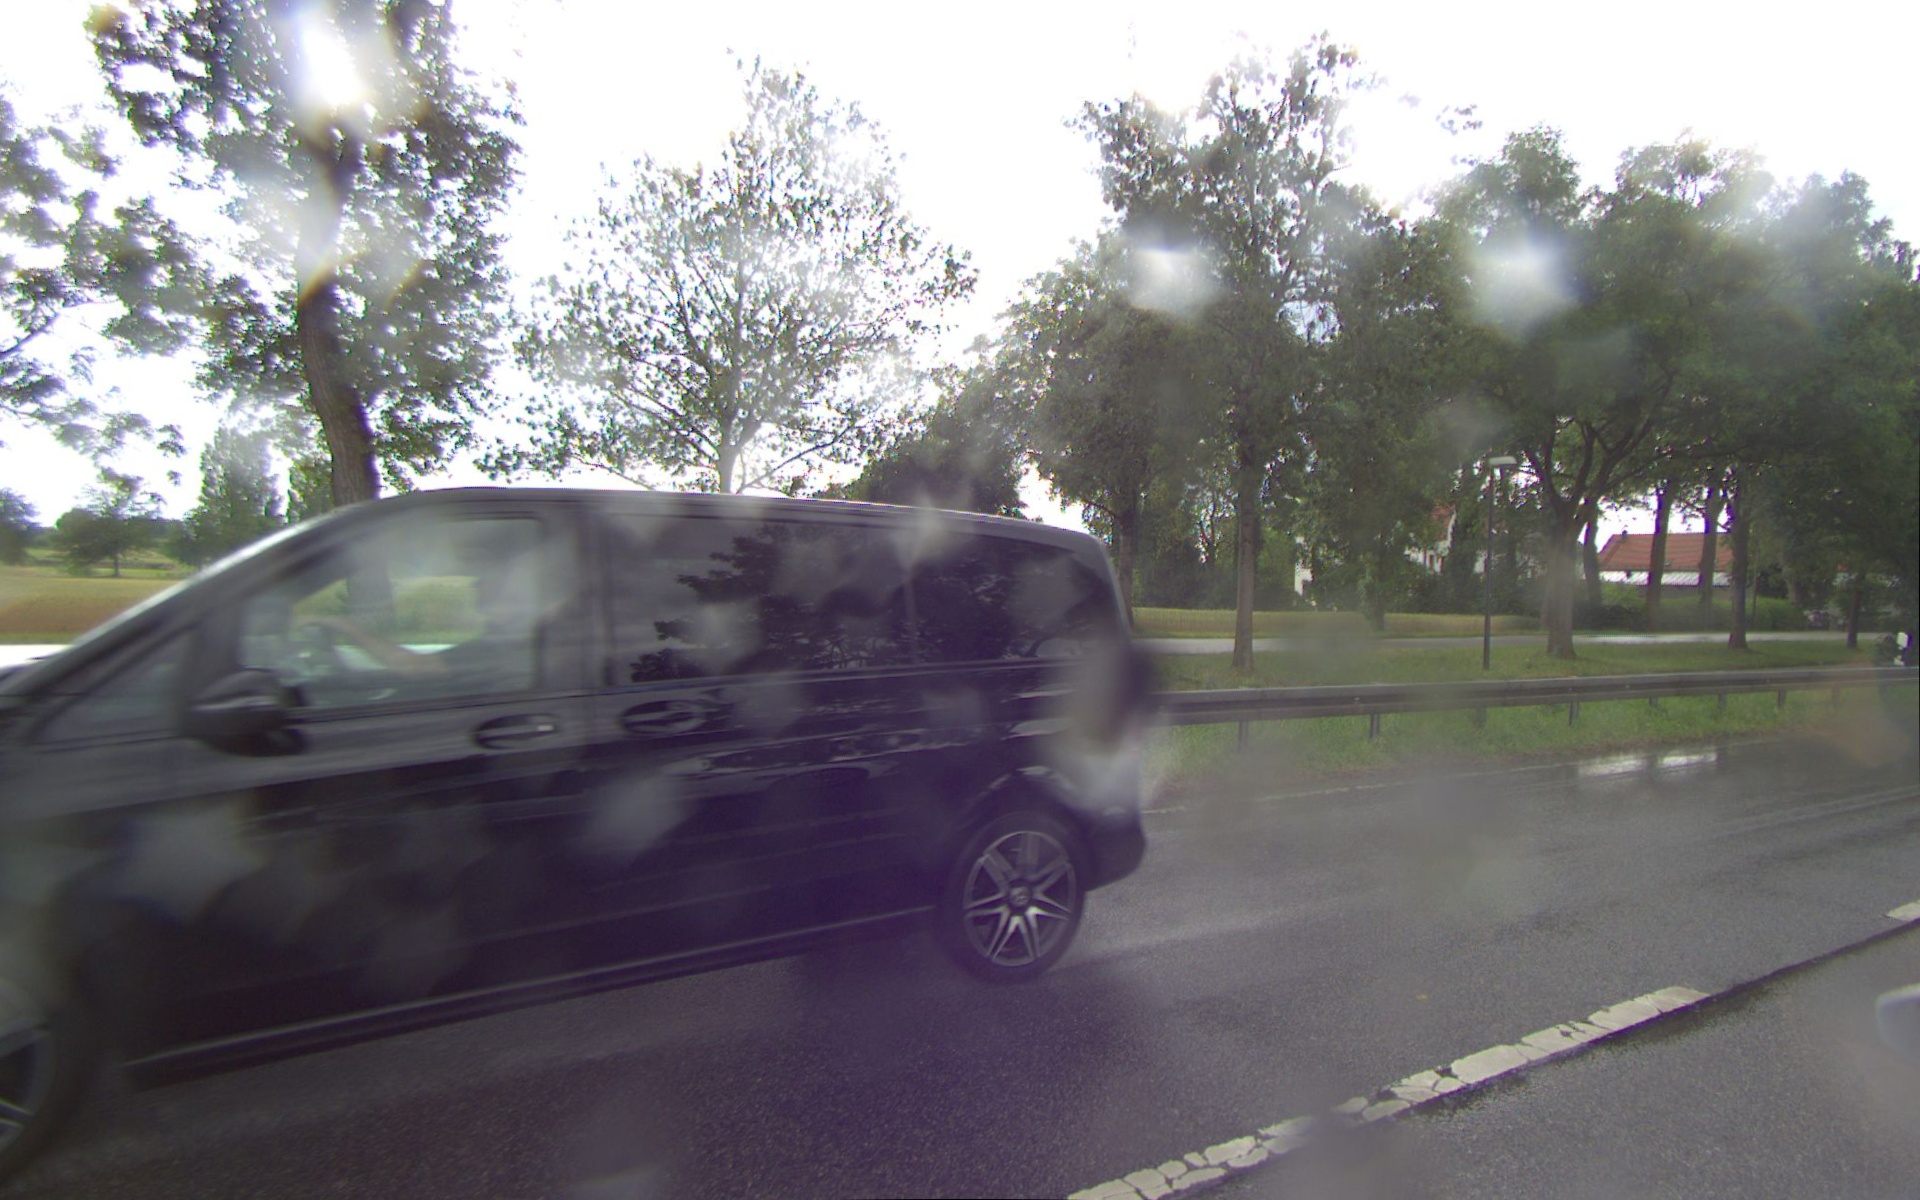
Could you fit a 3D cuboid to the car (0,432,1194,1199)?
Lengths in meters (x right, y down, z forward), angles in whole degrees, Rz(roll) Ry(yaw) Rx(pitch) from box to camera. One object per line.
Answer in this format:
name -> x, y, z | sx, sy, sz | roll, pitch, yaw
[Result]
car -> -1.333, 0.547, 3.970 | 4.363, 1.827, 1.819 | 1, -1, -30
